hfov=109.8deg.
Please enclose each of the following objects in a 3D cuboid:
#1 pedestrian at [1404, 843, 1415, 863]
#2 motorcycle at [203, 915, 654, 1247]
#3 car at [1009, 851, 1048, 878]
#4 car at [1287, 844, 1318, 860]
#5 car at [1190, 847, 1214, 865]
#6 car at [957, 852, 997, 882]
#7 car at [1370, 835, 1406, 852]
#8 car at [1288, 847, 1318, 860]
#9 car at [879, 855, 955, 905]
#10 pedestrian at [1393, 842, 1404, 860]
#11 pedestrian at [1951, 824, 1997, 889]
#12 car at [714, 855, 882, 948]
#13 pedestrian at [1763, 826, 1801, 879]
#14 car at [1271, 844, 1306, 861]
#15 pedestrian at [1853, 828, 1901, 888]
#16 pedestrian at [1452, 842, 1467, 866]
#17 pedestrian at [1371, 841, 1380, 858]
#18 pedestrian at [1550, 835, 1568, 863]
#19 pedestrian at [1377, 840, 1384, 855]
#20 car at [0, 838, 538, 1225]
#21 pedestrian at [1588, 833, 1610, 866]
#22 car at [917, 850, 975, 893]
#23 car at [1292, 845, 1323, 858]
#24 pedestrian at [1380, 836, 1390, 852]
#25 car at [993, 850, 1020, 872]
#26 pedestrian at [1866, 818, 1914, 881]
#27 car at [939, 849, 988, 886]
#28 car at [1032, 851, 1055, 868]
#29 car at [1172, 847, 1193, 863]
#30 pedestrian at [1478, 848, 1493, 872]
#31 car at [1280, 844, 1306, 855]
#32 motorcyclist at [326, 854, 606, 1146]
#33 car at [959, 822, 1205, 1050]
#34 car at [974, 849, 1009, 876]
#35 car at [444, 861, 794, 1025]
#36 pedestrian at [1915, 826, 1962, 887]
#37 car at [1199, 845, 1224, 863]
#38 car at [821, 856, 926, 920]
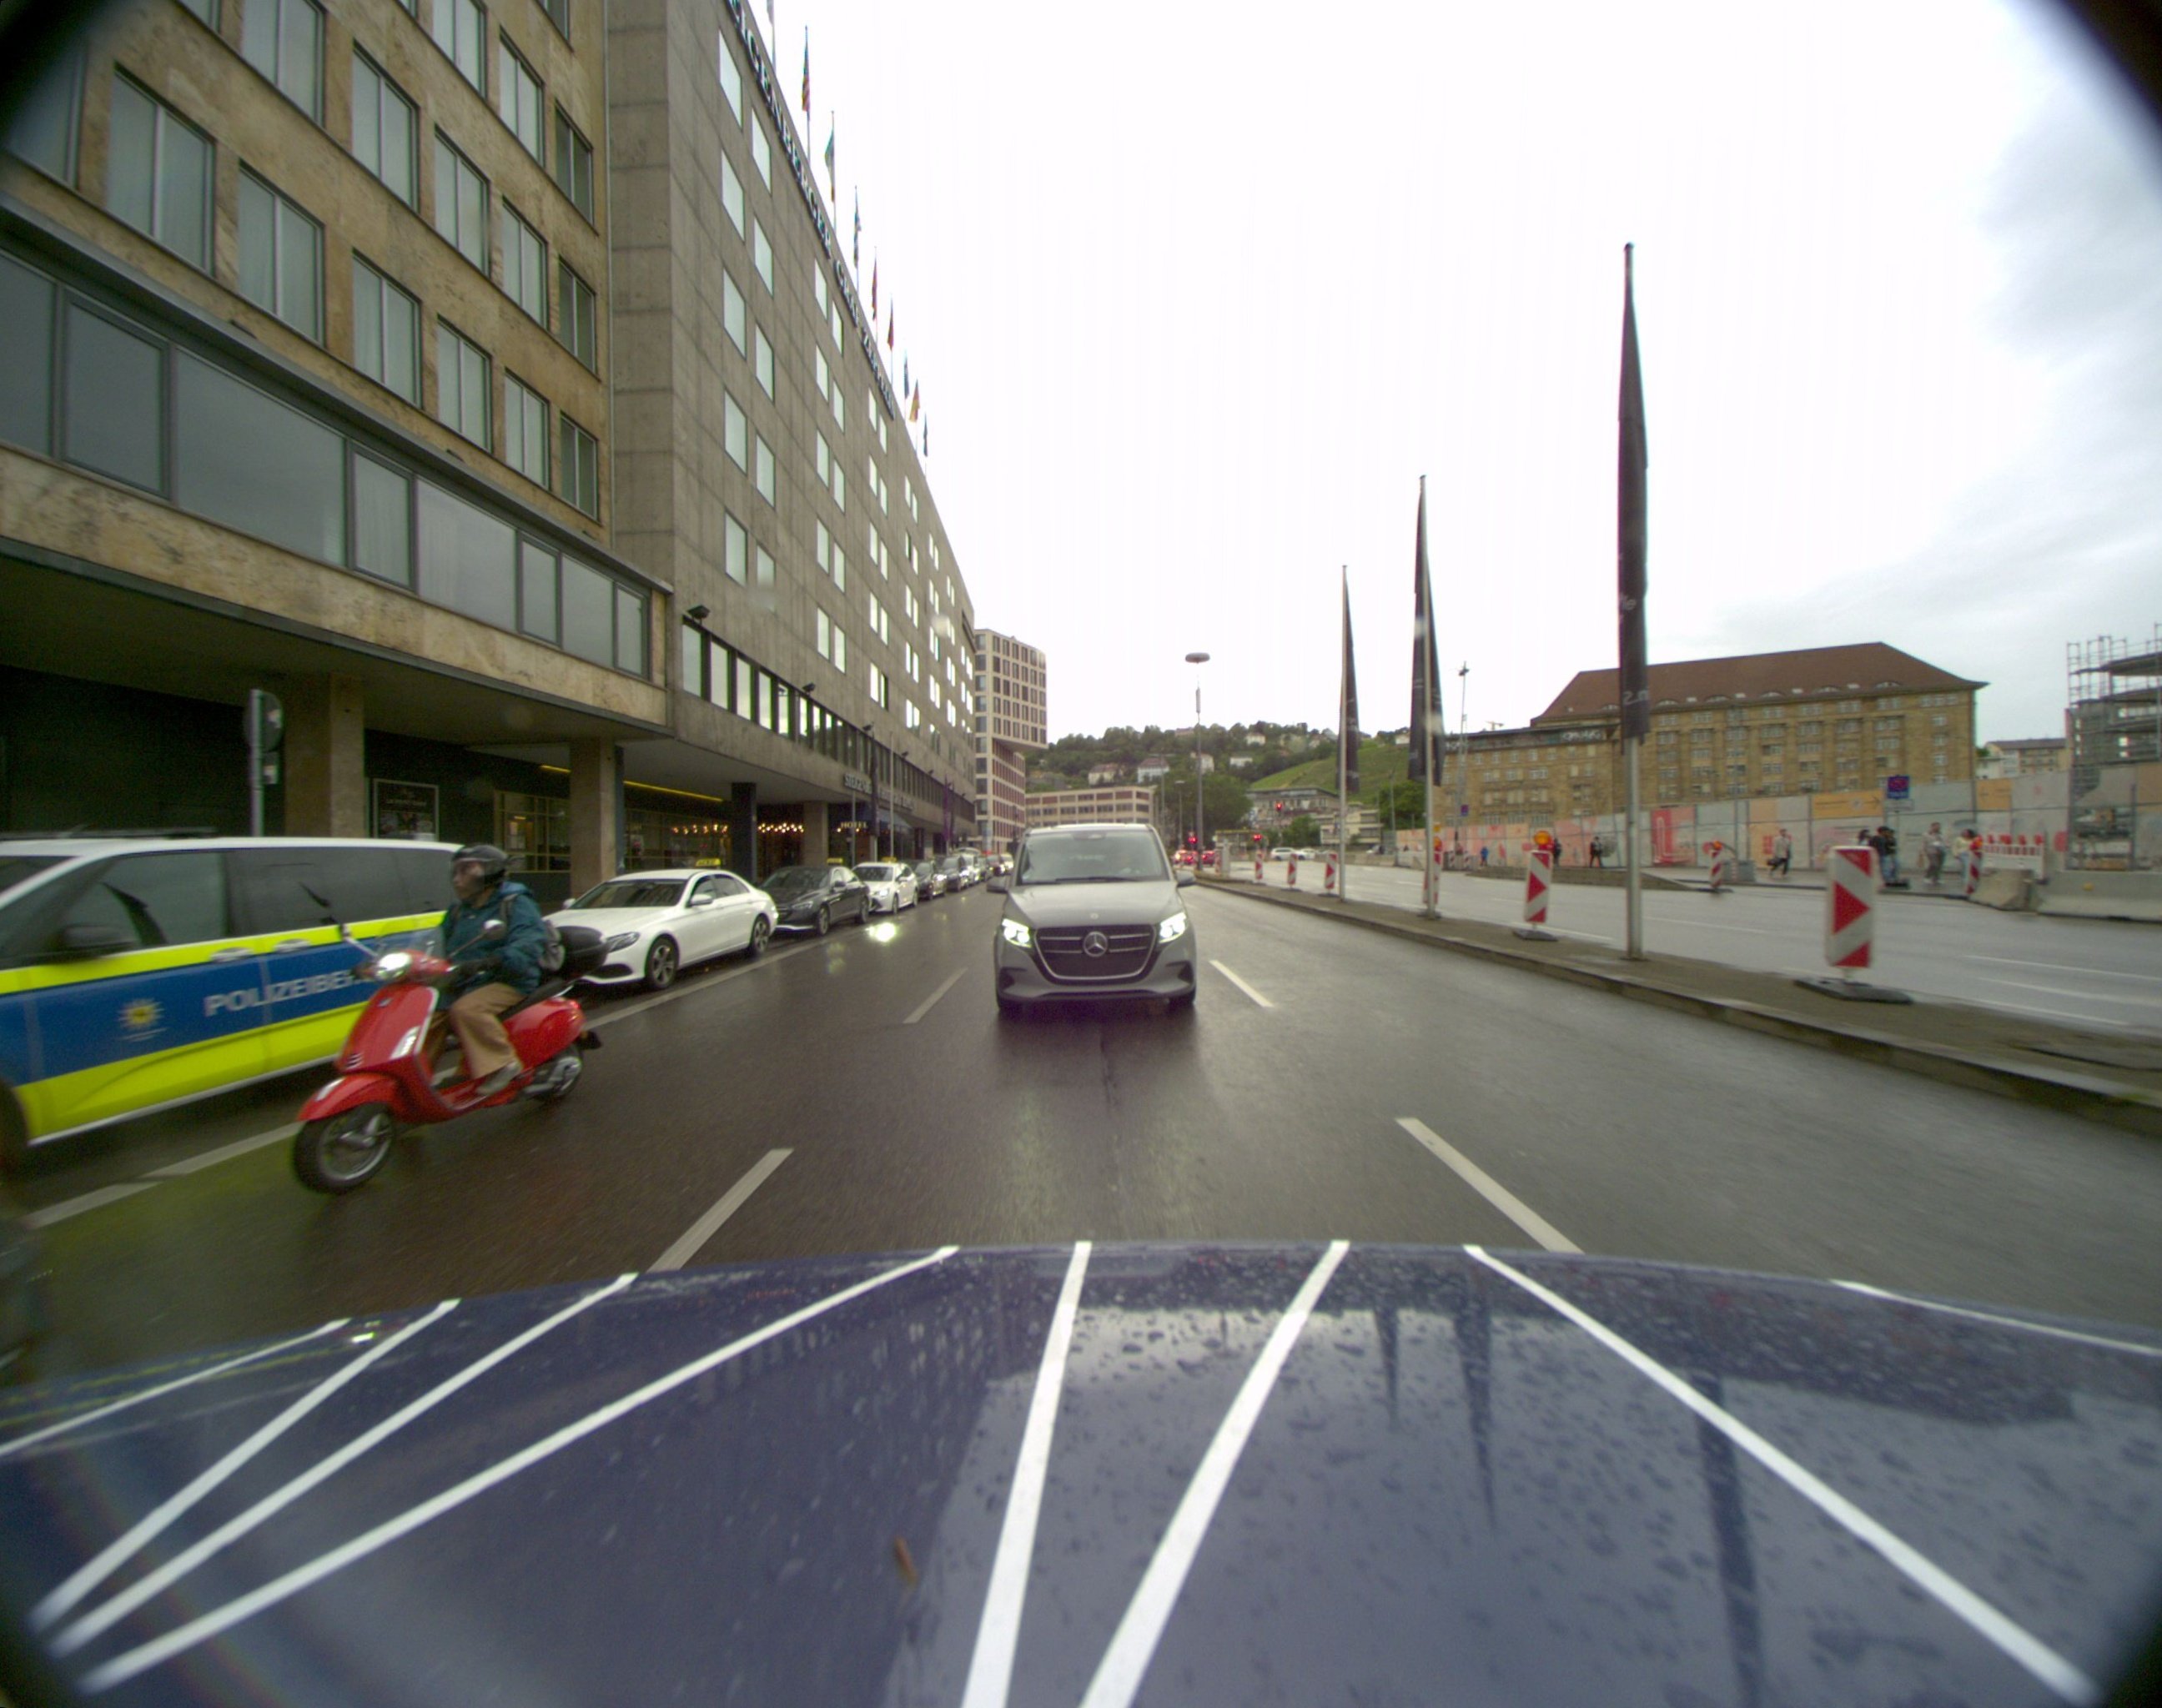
[{"bbox_3d":[28.007,-0.099,64.799,0.715,1.606,0.544,-2,1,1],"label":"pedestrian"},{"bbox_3d":[-3.517,1.118,4.438,0.848,1.299,1.965,-2,1,1],"label":"motorcycle"},{"bbox_3d":[-3.330,0.647,48.958,2.089,1.540,4.587,-2,1,0],"label":"car"},{"bbox_3d":[30.158,-0.324,103.304,3.992,2.002,2.002,-2,1,17],"label":"car"},{"bbox_3d":[12.586,0.173,79.329,1.785,1.684,3.915,-2,1,-1],"label":"car"},{"bbox_3d":[-6.161,0.729,45.461,1.731,1.604,4.000,-2,1,0],"label":"car"},{"bbox_3d":[38.604,-1.302,95.705,3.992,2.002,2.002,-2,1,17],"label":"car"},{"bbox_3d":[35.184,-0.139,120.608,4.194,1.847,1.832,-2,1,6],"label":"car"},{"bbox_3d":[-6.059,0.909,28.588,1.731,1.583,4.813,-2,1,0],"label":"car"},{"bbox_3d":[28.993,-0.286,69.384,0.715,1.606,0.544,-2,1,1],"label":"pedestrian"},{"bbox_3d":[25.622,0.064,21.800,0.661,1.825,0.556,-2,2,21],"label":"pedestrian"},{"bbox_3d":[-6.076,0.923,17.046,1.879,1.628,4.813,-2,1,0],"label":"car"},{"bbox_3d":[25.021,-0.052,27.118,0.664,1.825,0.720,-2,1,1],"label":"pedestrian"},{"bbox_3d":[27.260,-0.151,99.732,4.394,2.002,2.002,-2,1,17],"label":"car"},{"bbox_3d":[23.402,0.116,22.361,0.714,1.723,0.718,-2,1,19],"label":"pedestrian"},{"bbox_3d":[26.956,-0.004,54.105,0.715,1.606,0.544,-2,1,1],"label":"pedestrian"},{"bbox_3d":[29.288,-0.453,75.553,0.715,1.606,0.544,-2,1,5],"label":"pedestrian"},{"bbox_3d":[27.809,-0.274,44.217,0.715,1.606,0.544,-2,1,1],"label":"pedestrian"},{"bbox_3d":[34.169,-0.764,86.727,0.714,1.606,0.544,-2,2,22],"label":"pedestrian"},{"bbox_3d":[-6.309,0.896,4.960,1.879,1.909,4.934,-2,1,0],"label":"car"},{"bbox_3d":[25.781,-0.208,37.808,0.715,1.606,0.544,-2,1,1],"label":"pedestrian"},{"bbox_3d":[-6.074,0.740,34.757,1.731,1.733,4.813,-2,1,0],"label":"car"},{"bbox_3d":[31.317,-0.355,105.257,3.993,1.622,2.002,-1,1,14],"label":"car"},{"bbox_3d":[30.199,-1.015,75.523,0.715,1.606,0.544,-2,1,5],"label":"pedestrian"},{"bbox_3d":[-5.958,0.515,60.958,1.731,1.604,4.000,-2,1,0],"label":"car"},{"bbox_3d":[24.341,-0.140,22.876,0.714,1.825,0.718,-2,1,19],"label":"pedestrian"},{"bbox_3d":[-6.119,0.662,39.953,1.731,1.733,4.813,-2,1,0],"label":"car"},{"bbox_3d":[-3.959,0.561,80.290,2.089,1.540,4.587,-2,1,0],"label":"car"},{"bbox_3d":[11.742,0.073,88.072,1.785,1.684,3.915,-2,1,-1],"label":"car"},{"bbox_3d":[27.733,0.392,52.110,0.715,1.606,0.544,-2,1,1],"label":"pedestrian"},{"bbox_3d":[34.624,-0.769,123.909,3.993,1.622,2.002,-1,1,14],"label":"car"},{"bbox_3d":[-3.530,0.780,4.457,0.861,1.519,0.844,-2,1,1],"label":"motorcyclist"},{"bbox_3d":[0.045,0.656,8.991,1.998,1.849,5.159,-2,1,1],"label":"car"},{"bbox_3d":[-5.914,0.540,50.638,1.731,1.604,4.000,-2,1,0],"label":"car"},{"bbox_3d":[-6.086,1.017,10.963,1.879,1.628,5.010,-2,1,0],"label":"car"},{"bbox_3d":[24.887,0.060,22.074,0.714,1.734,0.564,-2,2,21],"label":"pedestrian"},{"bbox_3d":[12.680,-0.053,74.105,1.785,1.684,3.916,-1,0,0],"label":"car"},{"bbox_3d":[-6.050,0.921,22.773,1.731,1.583,4.813,-2,1,0],"label":"car"}]
